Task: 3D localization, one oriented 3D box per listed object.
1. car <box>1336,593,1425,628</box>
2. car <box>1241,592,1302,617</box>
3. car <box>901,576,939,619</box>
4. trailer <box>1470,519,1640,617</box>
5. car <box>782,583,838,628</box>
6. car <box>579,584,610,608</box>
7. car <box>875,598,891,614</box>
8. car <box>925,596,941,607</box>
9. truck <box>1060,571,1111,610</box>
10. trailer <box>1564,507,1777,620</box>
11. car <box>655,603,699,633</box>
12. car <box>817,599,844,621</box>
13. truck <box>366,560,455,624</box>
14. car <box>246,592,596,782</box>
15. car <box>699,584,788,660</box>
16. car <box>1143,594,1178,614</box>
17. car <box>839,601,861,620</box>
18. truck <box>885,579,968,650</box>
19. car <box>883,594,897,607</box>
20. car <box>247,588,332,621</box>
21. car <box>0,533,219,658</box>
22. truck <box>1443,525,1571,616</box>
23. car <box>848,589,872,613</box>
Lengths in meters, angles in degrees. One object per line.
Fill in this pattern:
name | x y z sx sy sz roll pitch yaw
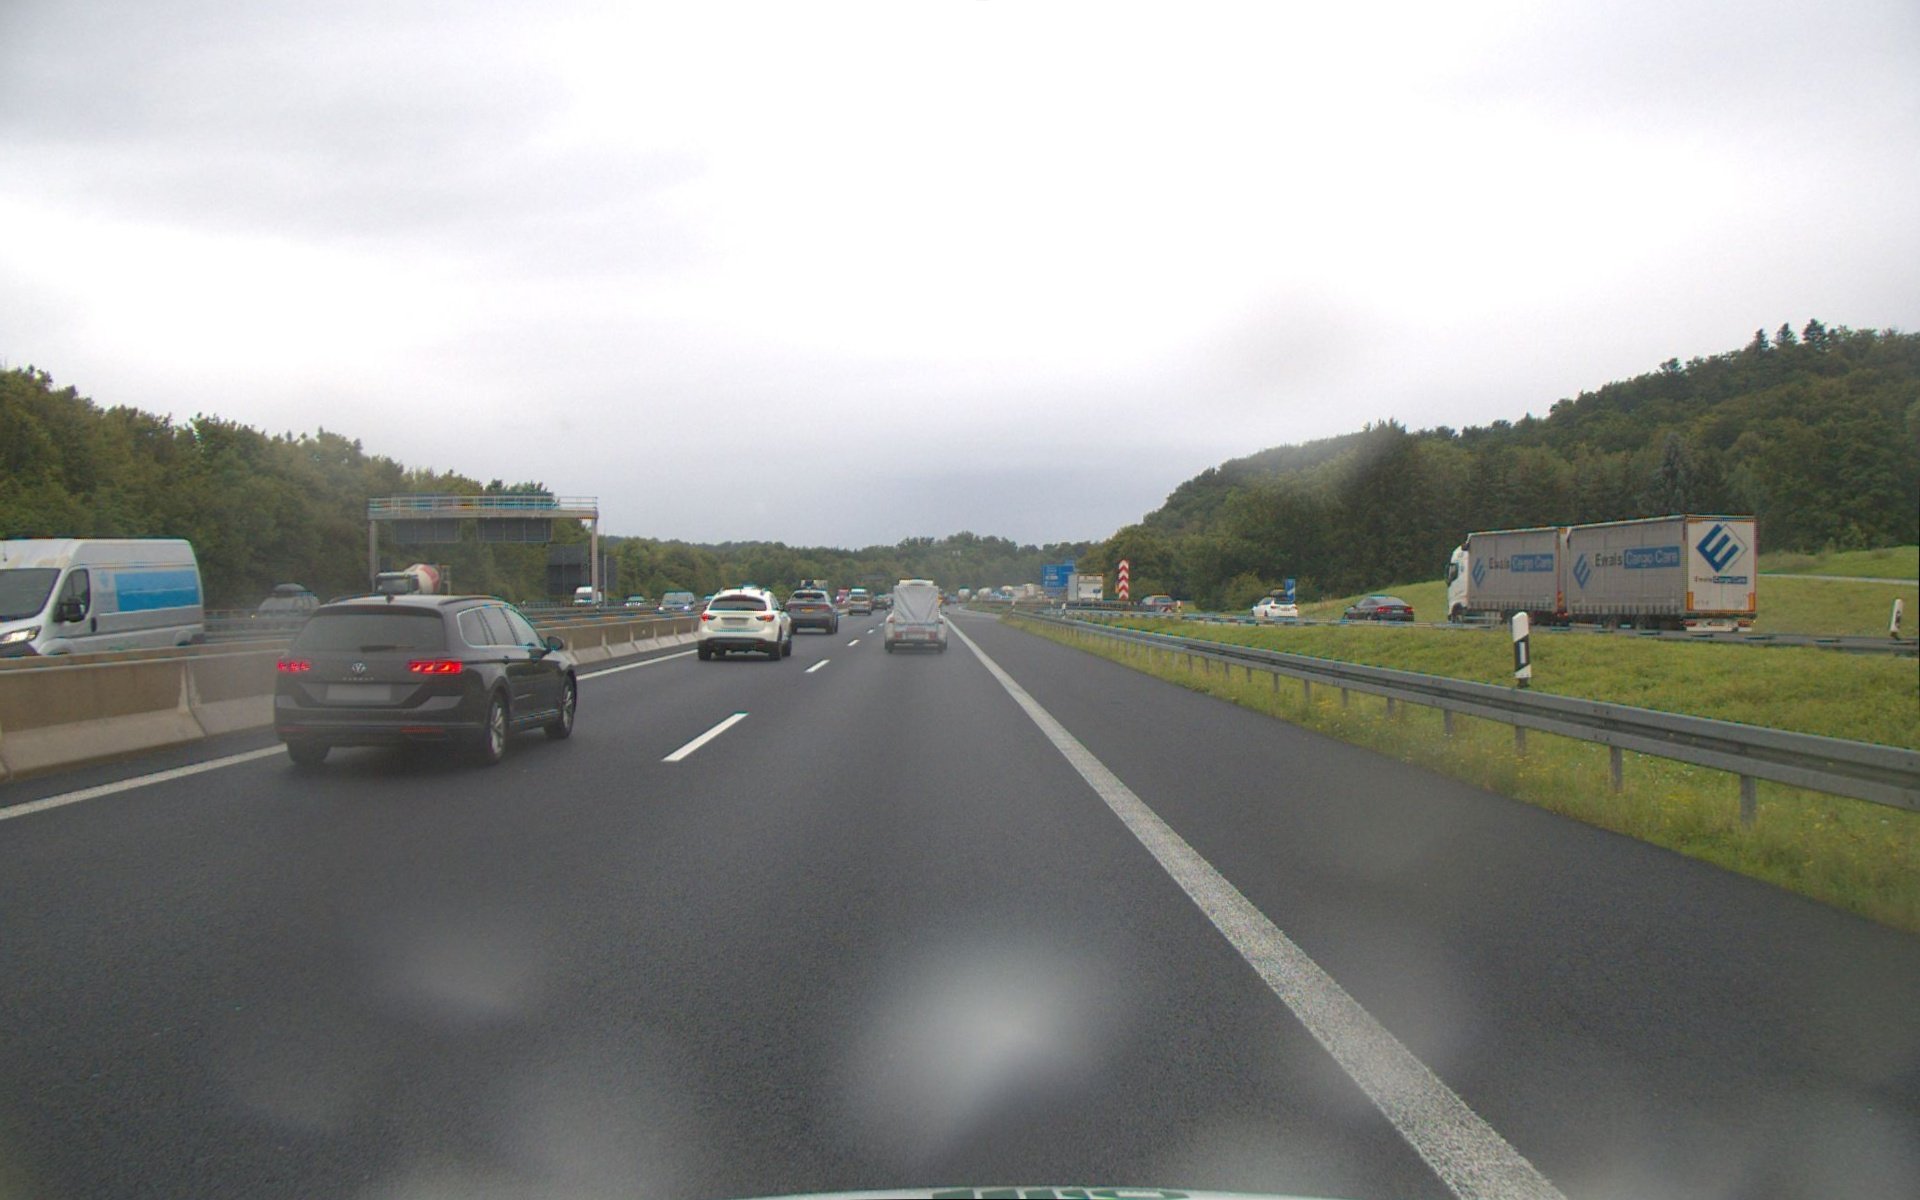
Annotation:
car | 17.845 0.425 70.503 1.948 1.401 5.311 0 0 -6
car | 18.206 0.251 96.825 1.949 1.401 5.068 0 0 -9
car | -2.716 -0.164 111.139 2.285 2.773 6.535 0 0 -3
trailer | 23.362 -1.182 65.538 2.882 3.588 8.407 1 0 -7
car | -5.985 0.200 66.459 1.936 1.733 4.801 1 0 -2
car | -35.849 -0.376 162.234 1.953 2.252 5.713 0 0 -2
car | -8.063 0.620 173.434 1.612 1.601 3.999 1 0 -1
car | -4.047 0.183 243.513 1.955 1.579 3.995 1 0 -6
truck | 12.429 -0.930 164.275 3.750 3.723 8.263 1 0 -5
trailer | 24.401 -1.173 57.337 3.020 3.588 8.070 1 0 -8
car | -17.155 1.070 100.479 1.954 1.679 5.024 1 0 -3
car | -9.840 0.753 125.639 1.782 1.691 4.016 0 0 -1
truck | -33.998 -0.494 102.674 2.631 3.725 9.554 0 0 -2
car | -4.809 0.687 15.548 1.751 1.484 4.801 1 0 -1
car | -5.175 0.499 40.031 2.009 1.700 4.535 1 0 -6
car | 13.414 0.273 111.015 1.510 1.311 3.529 1 0 -7
car | -9.968 0.910 150.064 1.782 1.691 4.016 0 0 -1
truck | -1.010 0.387 47.444 2.197 1.871 6.582 1 0 -2
car | -8.964 0.068 212.855 1.612 1.601 3.999 1 0 -1
car | -30.100 0.185 74.393 1.953 1.431 4.675 0 0 -1
car | -13.902 -0.070 25.705 2.310 1.722 5.903 0 0 -3
truck | 22.856 -1.187 69.431 2.882 3.588 5.919 1 0 -7
car | -7.956 0.075 131.819 1.703 1.825 3.999 1 0 -2
